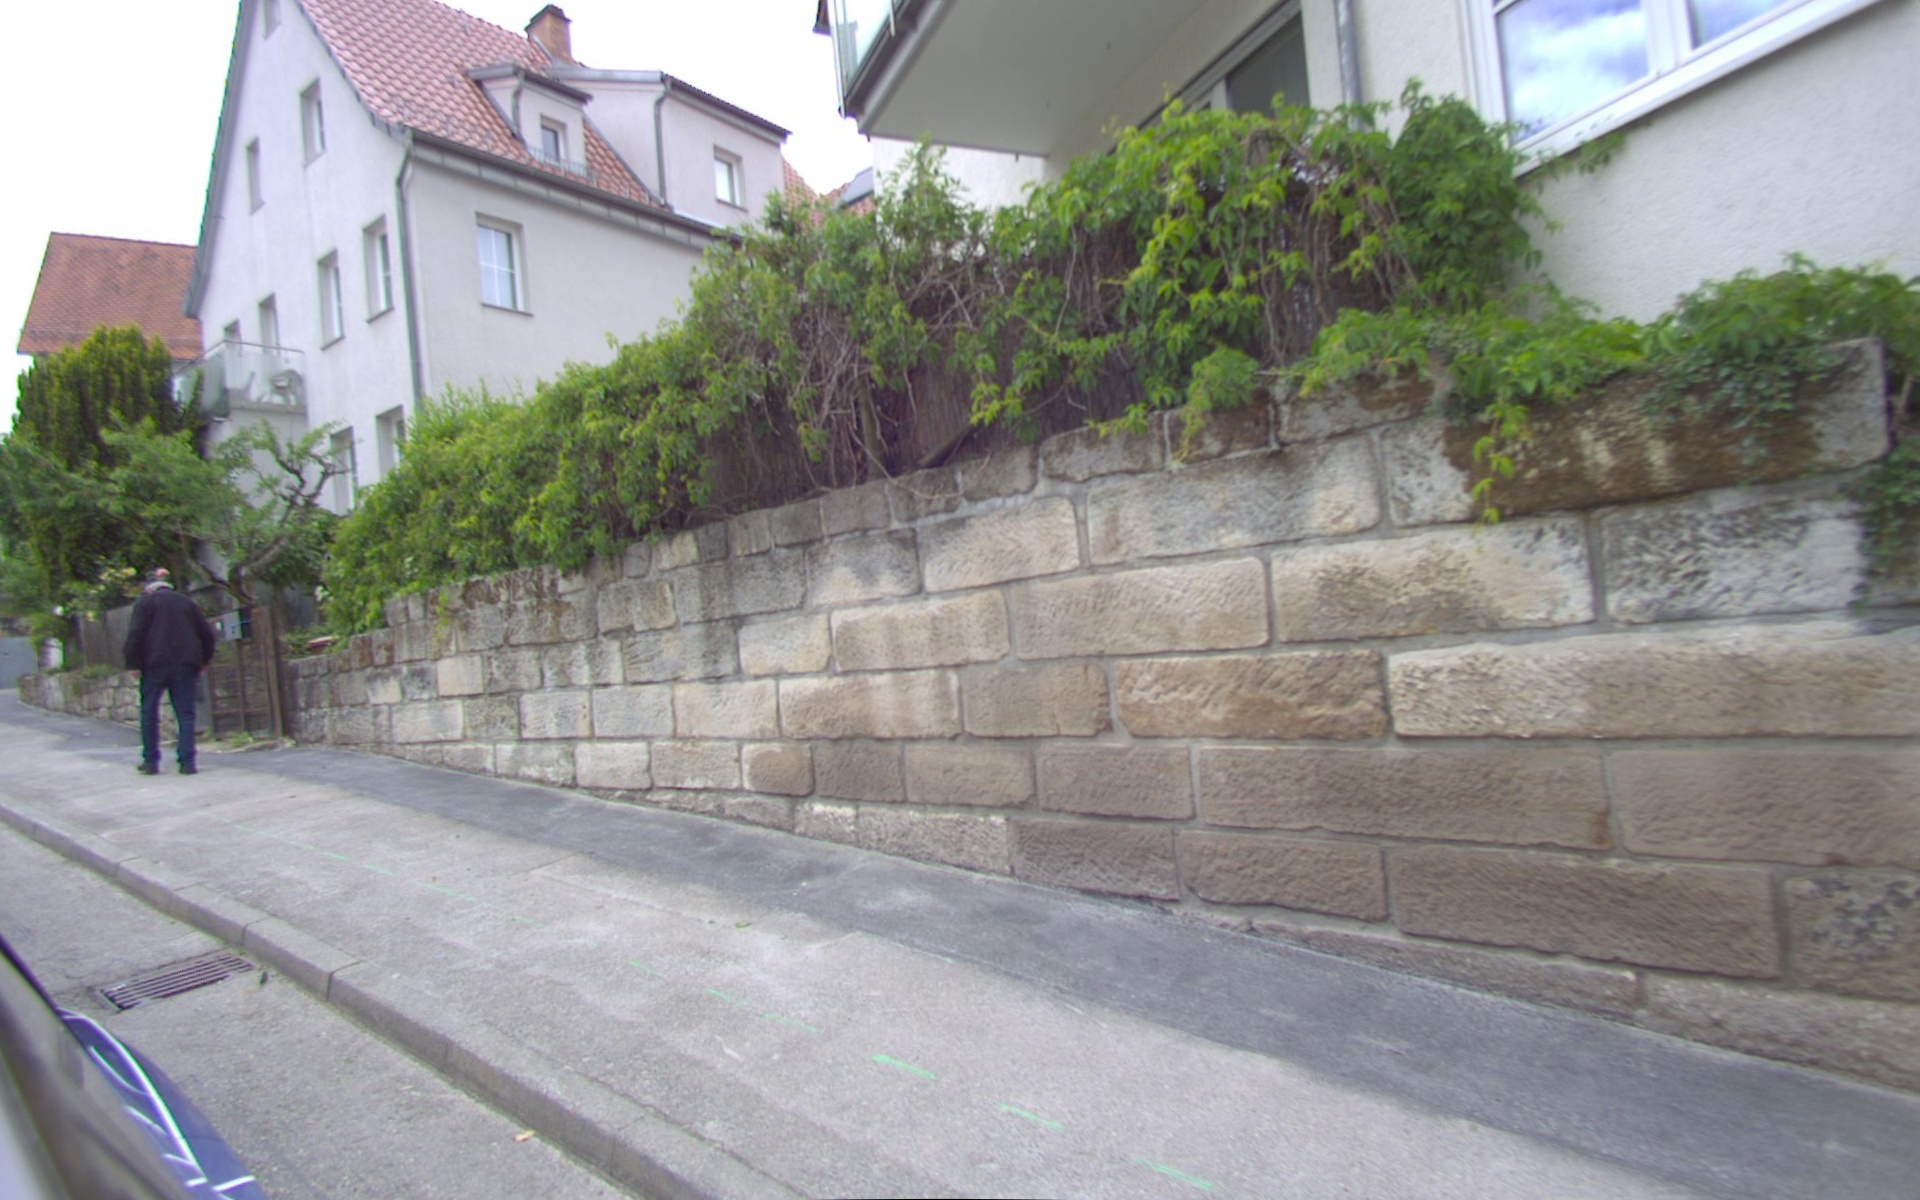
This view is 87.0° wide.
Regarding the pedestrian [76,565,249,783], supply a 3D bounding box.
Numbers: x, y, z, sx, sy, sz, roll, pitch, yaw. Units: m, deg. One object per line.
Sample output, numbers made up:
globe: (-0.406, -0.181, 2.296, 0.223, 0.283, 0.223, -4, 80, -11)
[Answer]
pedestrian: (-6.774, 0.585, 8.605, 0.975, 1.690, 0.832, -1, 3, 38)
